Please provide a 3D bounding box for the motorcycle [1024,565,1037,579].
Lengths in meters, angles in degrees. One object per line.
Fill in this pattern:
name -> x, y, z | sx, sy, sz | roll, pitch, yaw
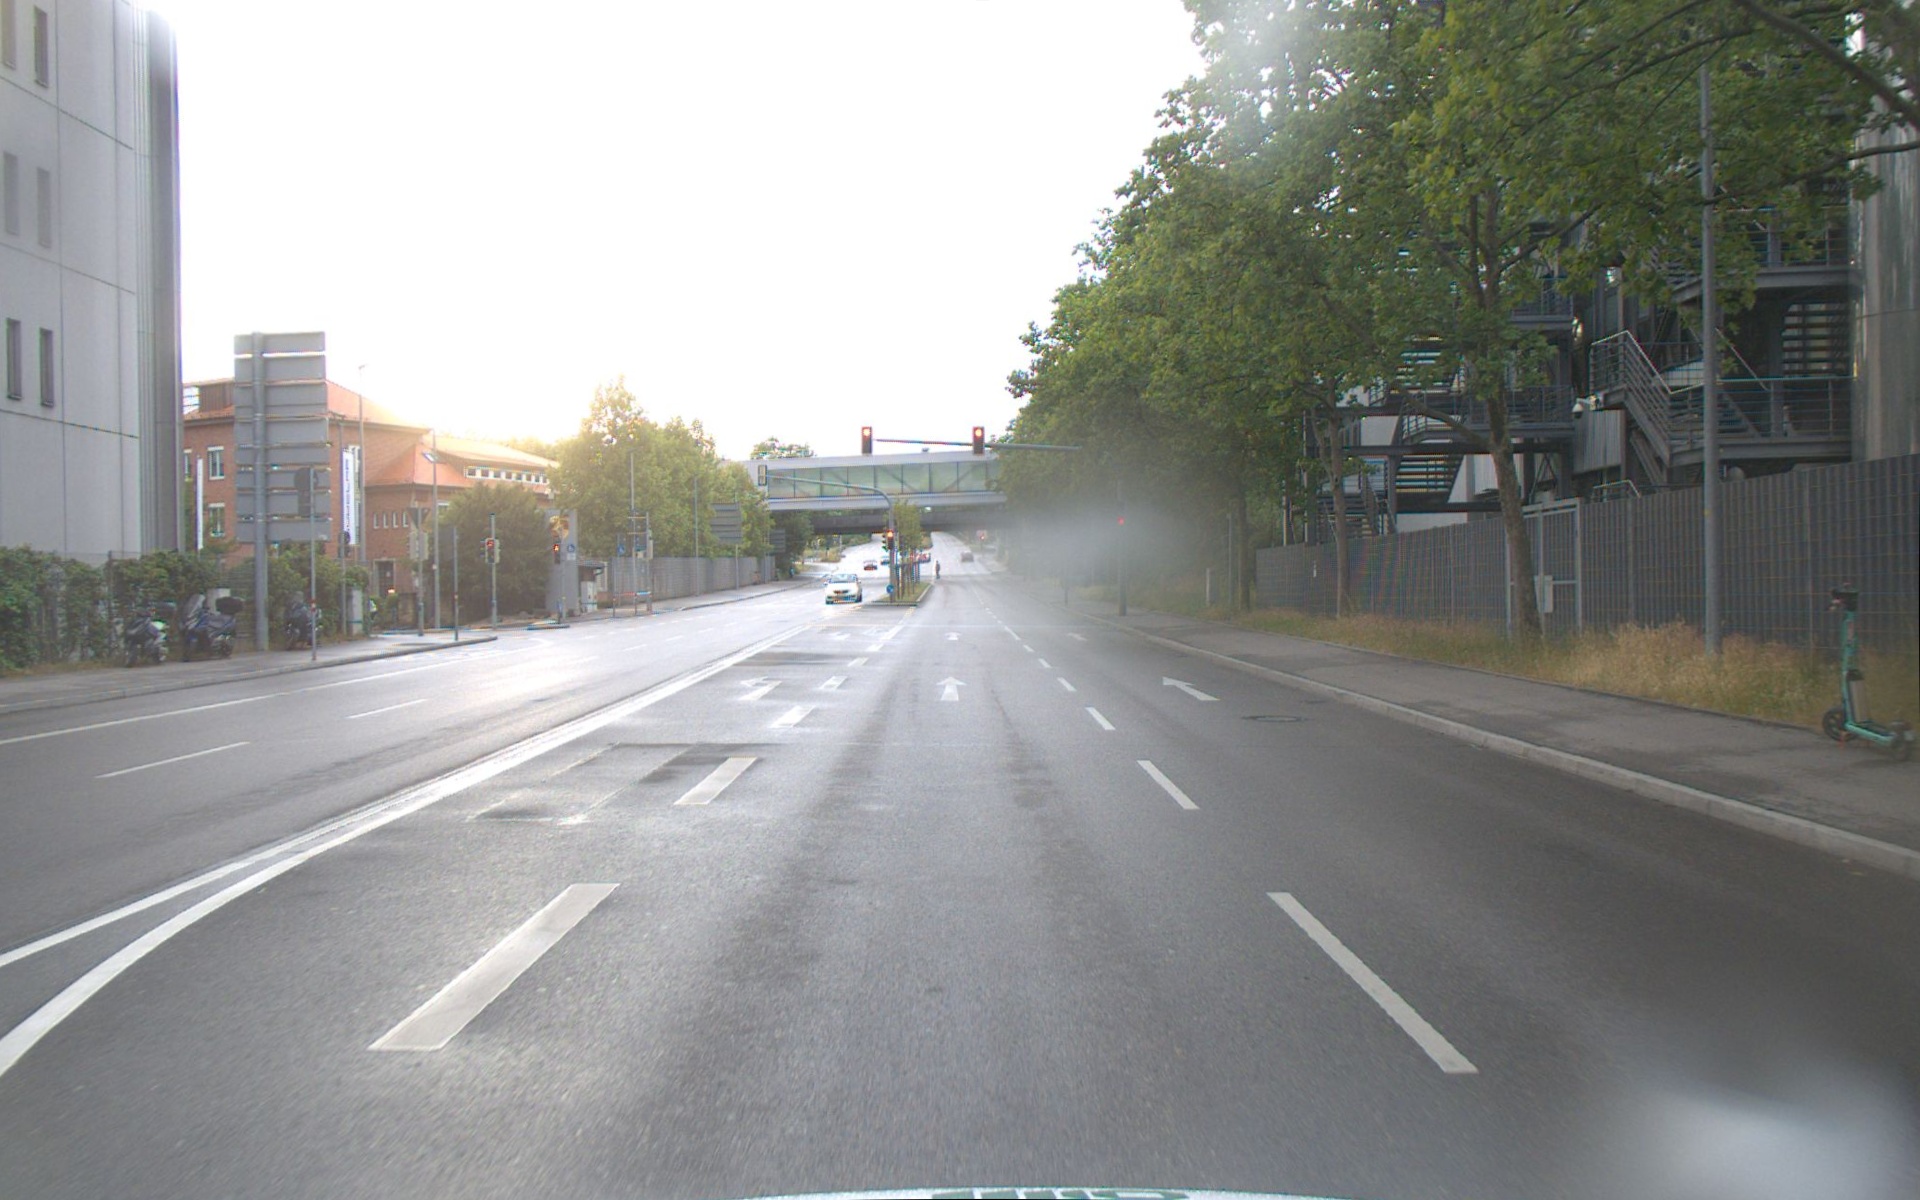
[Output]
motorcycle -> 7.142, -2.858, 167.757 | 0.775, 1.334, 2.372 | -2, 1, -8

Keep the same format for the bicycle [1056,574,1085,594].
bicycle -> 7.744, -1.121, 115.739 | 1.949, 1.352, 0.576 | 1, 0, 1

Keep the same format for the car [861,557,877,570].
car -> -12.336, -4.952, 224.401 | 1.839, 1.652, 3.779 | -2, 1, 0

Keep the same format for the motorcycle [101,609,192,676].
motorcycle -> -16.420, 0.836, 33.452 | 0.769, 1.272, 2.157 | -1, 1, -1

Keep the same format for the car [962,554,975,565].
car -> 1.291, -6.150, 249.907 | 1.836, 1.523, 4.068 | 1, 0, 0

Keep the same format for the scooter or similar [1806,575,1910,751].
scooter or similar -> 6.884, 0.458, 12.711 | 0.321, 1.291, 1.109 | -1, 0, 8

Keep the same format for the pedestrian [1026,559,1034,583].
pedestrian -> 5.944, -2.447, 140.493 | 0.609, 2.048, 0.605 | -2, 1, 0

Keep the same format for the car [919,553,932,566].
car -> -5.310, -6.205, 254.210 | 1.952, 1.792, 4.000 | 1, 0, 0

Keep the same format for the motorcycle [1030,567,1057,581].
motorcycle -> 7.484, -2.321, 148.869 | 2.318, 1.223, 0.723 | -2, 1, 8

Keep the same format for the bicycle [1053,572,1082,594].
bicycle -> 7.446, -1.180, 114.886 | 1.949, 1.455, 0.723 | 1, 0, 1

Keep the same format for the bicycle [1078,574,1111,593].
bicycle -> 8.284, -1.006, 101.749 | 1.949, 1.114, 0.541 | 1, 0, 1

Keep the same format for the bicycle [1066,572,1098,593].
bicycle -> 7.622, -1.080, 103.211 | 1.949, 1.237, 0.541 | 1, 0, 1

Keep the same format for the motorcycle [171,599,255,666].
motorcycle -> -16.286, 0.681, 36.131 | 0.769, 1.371, 2.369 | -1, 1, -1

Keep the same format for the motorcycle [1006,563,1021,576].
motorcycle -> 5.565, -3.195, 172.722 | 0.778, 1.334, 2.365 | -2, 1, -17

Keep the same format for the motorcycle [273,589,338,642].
motorcycle -> -16.501, 0.377, 41.765 | 0.769, 1.269, 2.157 | -1, 1, -1

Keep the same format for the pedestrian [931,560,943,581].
pedestrian -> -2.323, -2.955, 166.642 | 0.853, 2.039, 0.855 | -2, 1, 17

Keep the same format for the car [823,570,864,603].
car -> -6.117, -0.732, 87.292 | 1.839, 1.652, 3.779 | -2, 1, 0

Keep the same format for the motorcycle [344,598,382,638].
motorcycle -> -19.218, 0.560, 53.175 | 0.761, 1.239, 2.485 | -1, 1, -29
